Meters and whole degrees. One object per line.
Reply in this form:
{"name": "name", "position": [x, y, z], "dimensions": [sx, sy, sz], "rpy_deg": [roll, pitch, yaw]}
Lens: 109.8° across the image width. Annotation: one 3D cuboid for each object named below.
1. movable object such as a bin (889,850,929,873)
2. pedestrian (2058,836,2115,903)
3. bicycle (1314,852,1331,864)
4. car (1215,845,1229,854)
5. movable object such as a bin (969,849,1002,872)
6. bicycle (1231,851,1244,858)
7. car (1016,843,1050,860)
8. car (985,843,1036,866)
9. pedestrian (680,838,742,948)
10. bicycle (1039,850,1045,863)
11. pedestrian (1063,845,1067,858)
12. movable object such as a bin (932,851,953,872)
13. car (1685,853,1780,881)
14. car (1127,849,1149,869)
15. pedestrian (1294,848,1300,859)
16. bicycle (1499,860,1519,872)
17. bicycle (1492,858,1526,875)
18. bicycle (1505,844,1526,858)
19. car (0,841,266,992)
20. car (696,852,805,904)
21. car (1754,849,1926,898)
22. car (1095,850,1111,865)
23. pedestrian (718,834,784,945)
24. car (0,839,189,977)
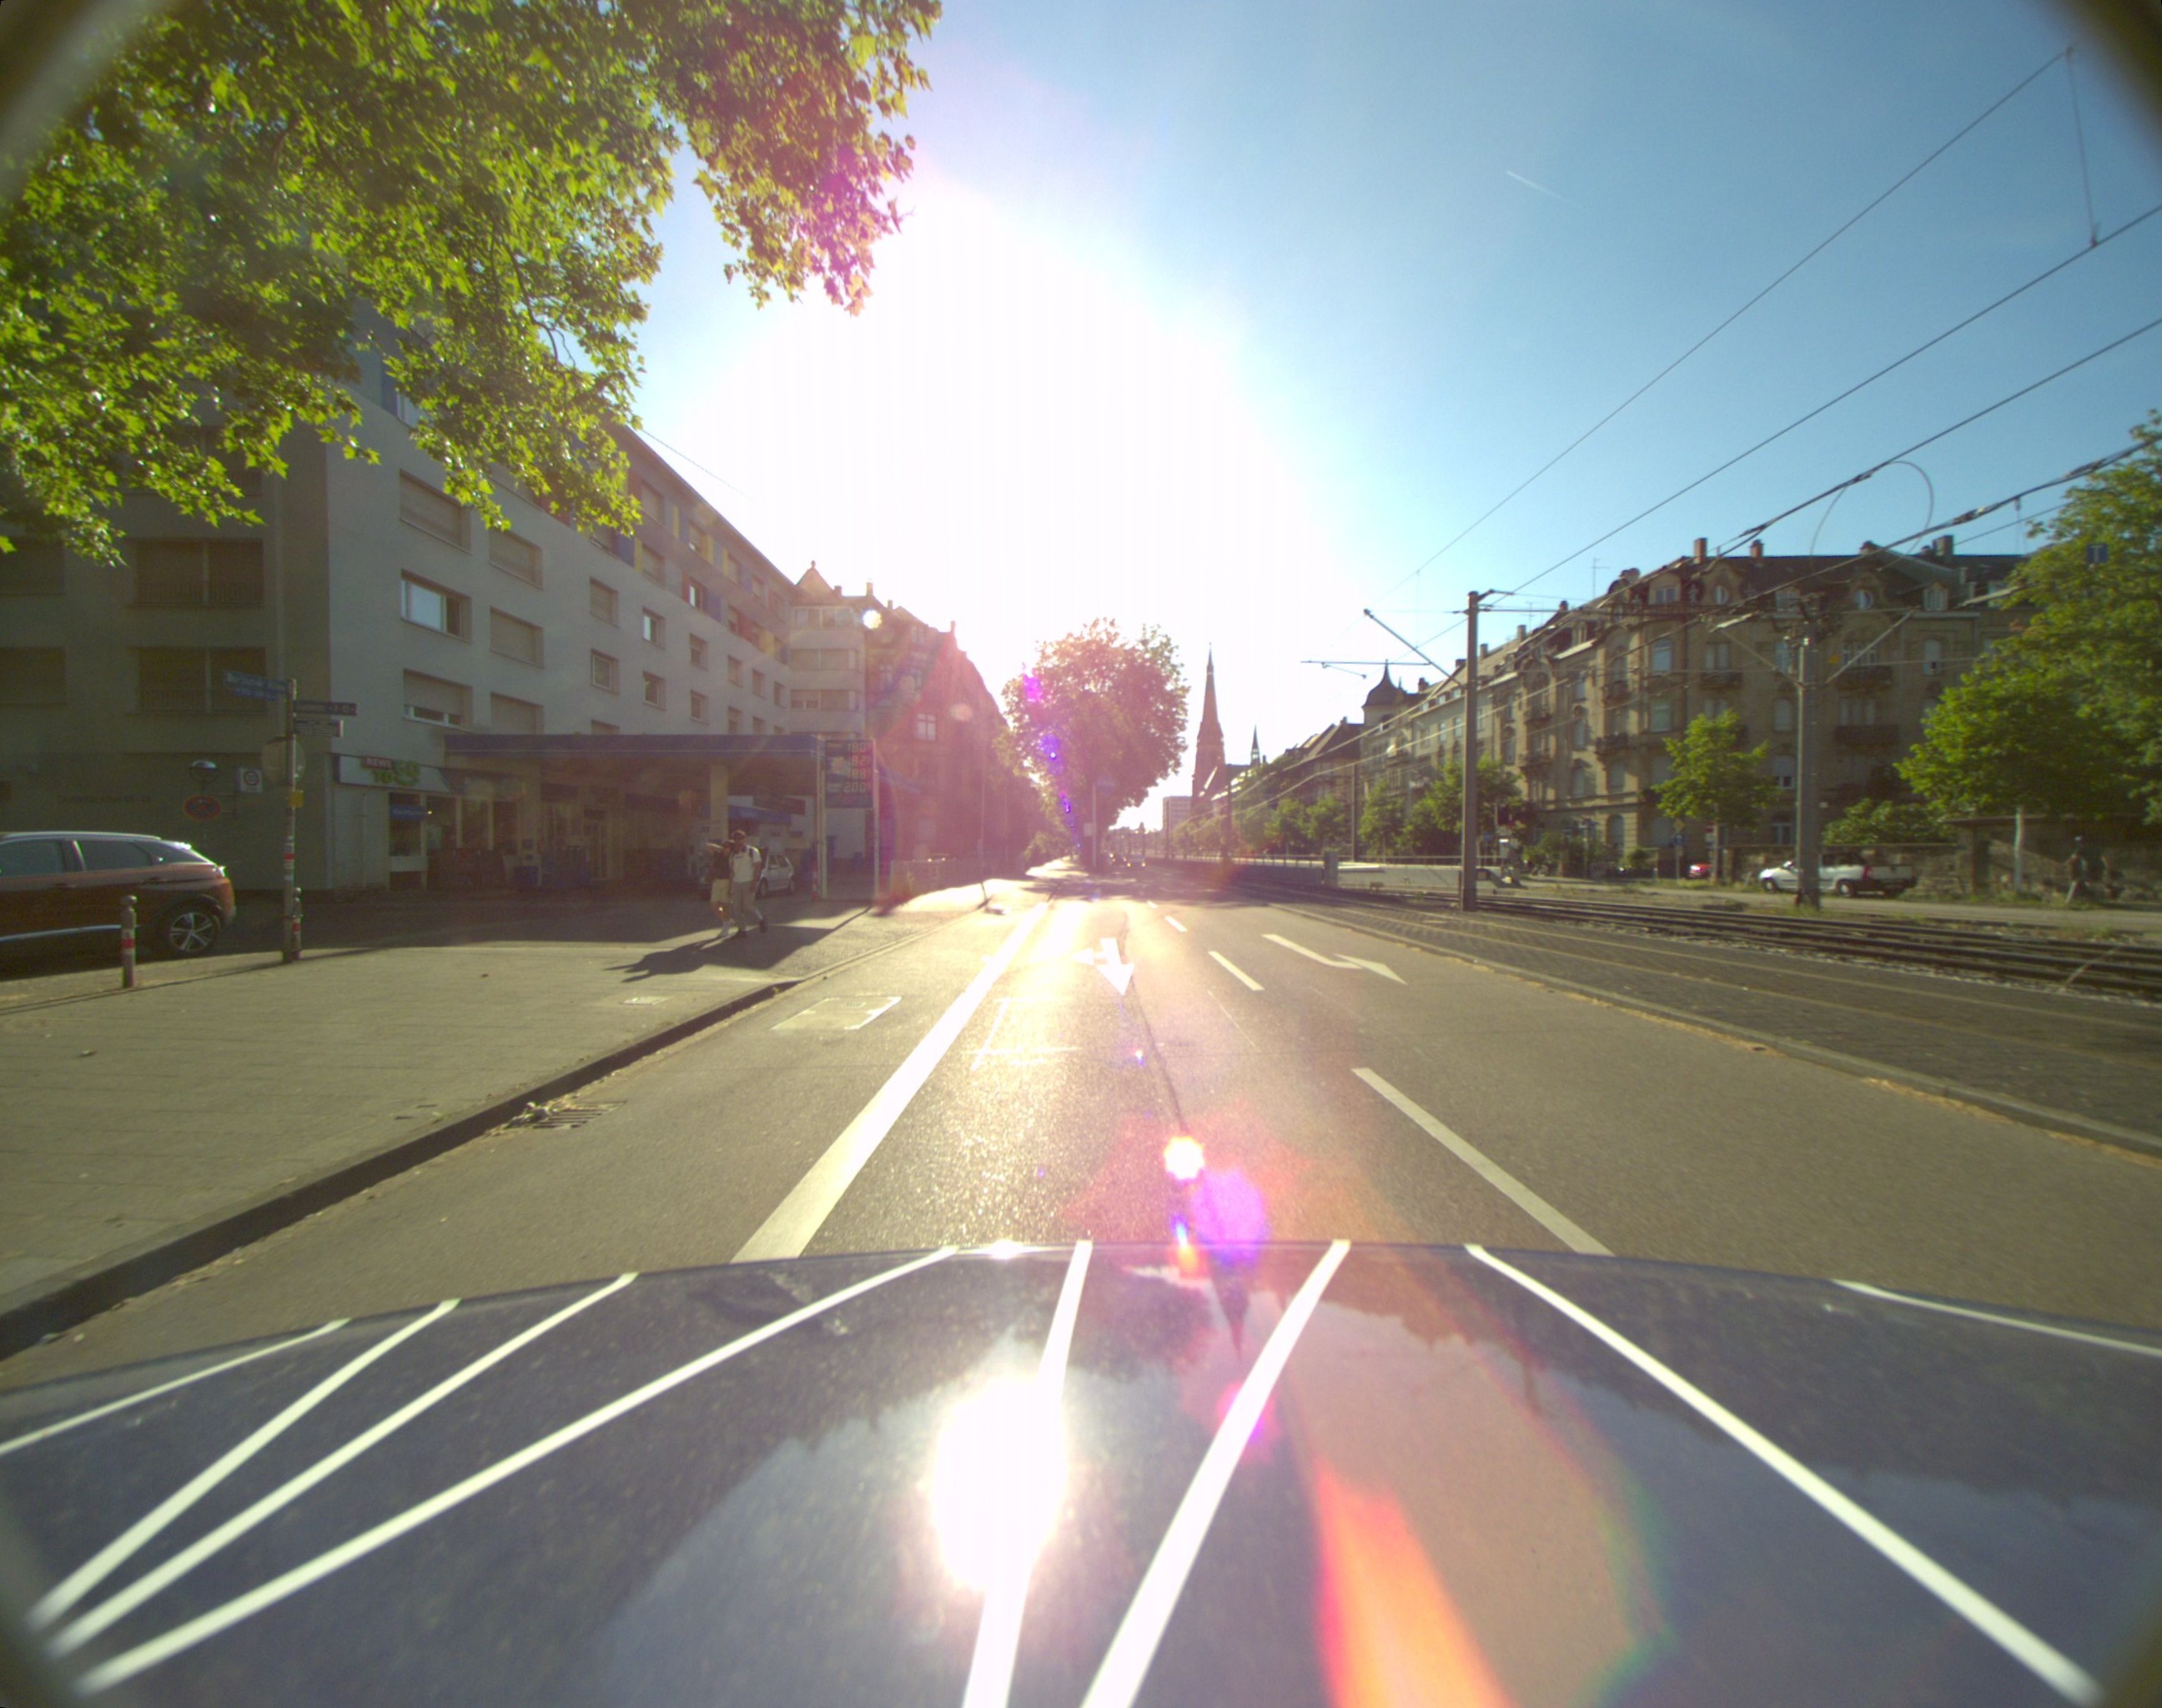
{"name": "movable object such as a bin", "position": [-10.982, 0.487, 48.707], "dimensions": [2.214, 1.415, 1.777], "rpy_deg": [0, 1, -3]}
{"name": "pedestrian", "position": [29.088, 0.433, 21.994], "dimensions": [0.606, 1.876, 0.757], "rpy_deg": [-3, 1, 3]}
{"name": "bicycle", "position": [26.941, 0.456, 84.631], "dimensions": [1.734, 1.272, 0.600], "rpy_deg": [0, 1, 6]}
{"name": "car", "position": [26.840, -0.810, 144.521], "dimensions": [1.837, 1.576, 3.999], "rpy_deg": [-3, 0, -2]}
{"name": "movable object such as a bin", "position": [-6.173, 0.419, 49.300], "dimensions": [2.041, 1.482, 1.745], "rpy_deg": [0, 1, -4]}
{"name": "bicycle", "position": [27.119, 0.123, 131.875], "dimensions": [2.379, 1.092, 0.556], "rpy_deg": [-3, 1, -30]}
{"name": "car", "position": [-6.198, -0.339, 98.682], "dimensions": [4.187, 2.002, 1.999], "rpy_deg": [2, 1, -2]}
{"name": "car", "position": [-6.666, 0.002, 71.780], "dimensions": [4.584, 2.002, 1.914], "rpy_deg": [2, 1, 0]}
{"name": "pedestrian", "position": [-6.165, 0.627, 12.684], "dimensions": [0.604, 1.766, 0.690], "rpy_deg": [3, 1, 4]}
{"name": "bicycle", "position": [-4.009, 0.251, 78.129], "dimensions": [0.338, 1.242, 1.767], "rpy_deg": [-2, 1, 4]}
{"name": "pedestrian", "position": [-2.377, -0.352, 112.856], "dimensions": [0.674, 2.002, 0.633], "rpy_deg": [0, 1, 0]}
{"name": "movable object such as a bin", "position": [-9.025, 0.492, 49.560], "dimensions": [1.189, 1.381, 1.028], "rpy_deg": [0, 1, -2]}
{"name": "car", "position": [37.902, 0.757, 44.267], "dimensions": [3.997, 1.560, 1.819], "rpy_deg": [0, 1, -1]}
{"name": "car", "position": [5.411, 0.514, 71.662], "dimensions": [1.822, 1.728, 4.003], "rpy_deg": [-1, -2, 6]}
{"name": "pedestrian", "position": [32.810, -0.062, 115.372], "dimensions": [0.720, 1.679, 0.865], "rpy_deg": [-2, 1, 6]}
{"name": "bicycle", "position": [30.149, 0.845, 53.492], "dimensions": [0.417, 0.795, 1.887], "rpy_deg": [-3, 0, 3]}
{"name": "bicycle", "position": [26.852, 0.757, 47.693], "dimensions": [0.487, 1.016, 1.889], "rpy_deg": [-3, 1, -24]}
{"name": "bicycle", "position": [33.655, -0.221, 58.828], "dimensions": [0.506, 1.012, 2.112], "rpy_deg": [-2, 0, 4]}
{"name": "car", "position": [-12.361, 0.663, 8.390], "dimensions": [1.822, 1.592, 4.661], "rpy_deg": [0, 0, -2]}
{"name": "car", "position": [-10.012, 0.664, 23.341], "dimensions": [1.571, 1.422, 4.097], "rpy_deg": [0, 1, 0]}
{"name": "car", "position": [26.873, 0.616, 27.173], "dimensions": [1.720, 1.546, 4.510], "rpy_deg": [-3, 0, 2]}
{"name": "car", "position": [2.301, 0.377, 79.704], "dimensions": [1.555, 1.490, 4.049], "rpy_deg": [1, 1, 0]}
{"name": "pedestrian", "position": [-5.517, 0.575, 12.744], "dimensions": [0.604, 1.766, 0.879], "rpy_deg": [3, 1, 4]}
{"name": "car", "position": [-14.497, 0.673, 9.144], "dimensions": [1.864, 1.725, 4.798], "rpy_deg": [0, 0, 0]}
